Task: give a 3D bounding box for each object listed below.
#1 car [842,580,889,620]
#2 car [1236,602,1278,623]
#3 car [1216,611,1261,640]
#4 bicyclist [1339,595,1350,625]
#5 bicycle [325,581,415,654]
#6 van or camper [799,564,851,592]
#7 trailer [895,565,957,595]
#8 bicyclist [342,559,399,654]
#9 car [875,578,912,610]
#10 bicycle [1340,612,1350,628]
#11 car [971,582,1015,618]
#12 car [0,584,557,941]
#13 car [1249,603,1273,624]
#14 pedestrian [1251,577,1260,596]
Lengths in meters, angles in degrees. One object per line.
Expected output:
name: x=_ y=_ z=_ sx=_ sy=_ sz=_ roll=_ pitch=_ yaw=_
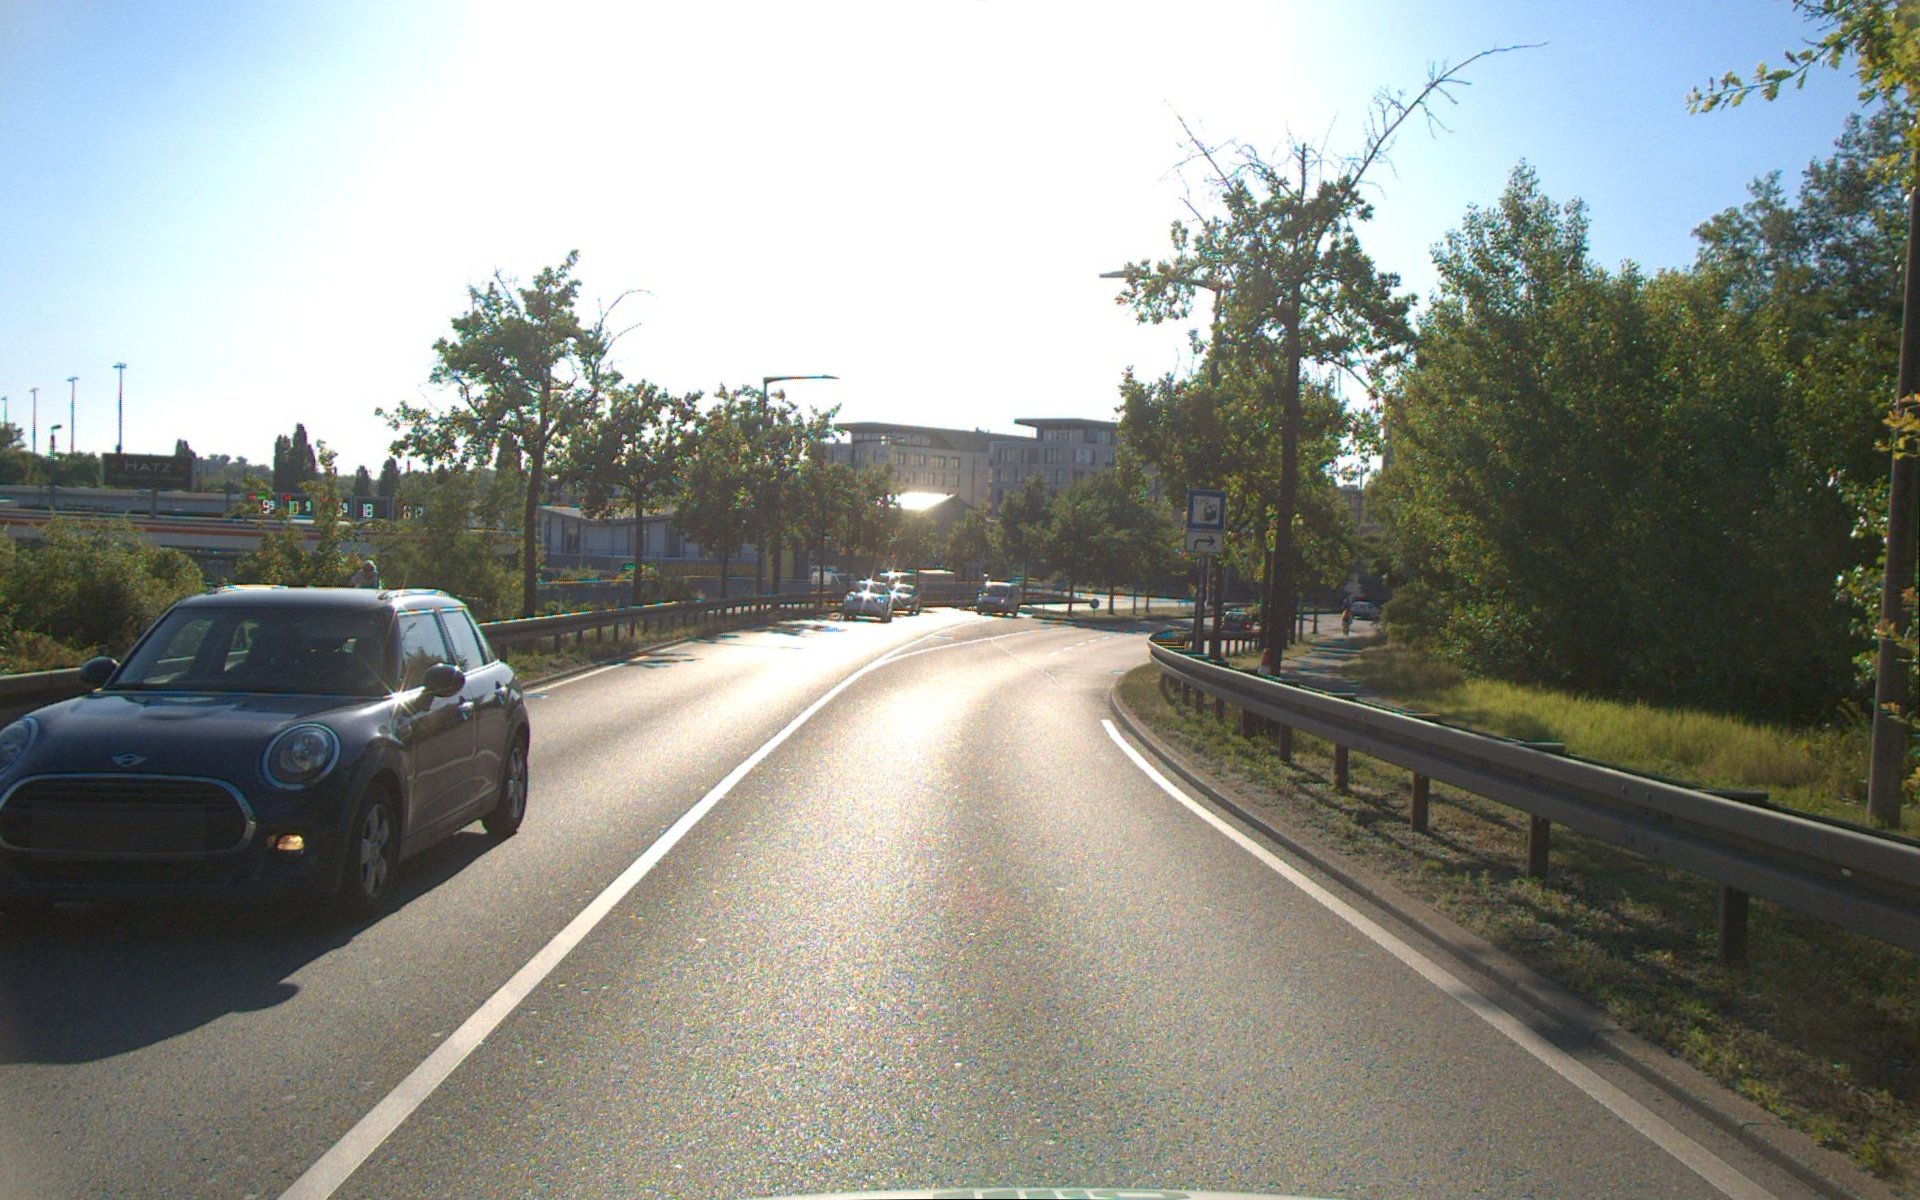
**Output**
car: x=-3.993 y=-0.027 z=70.404 sx=1.791 sy=1.617 sz=4.647 roll=1 pitch=0 yaw=-1
car: x=22.863 y=0.988 z=127.164 sx=1.556 sy=1.432 sz=3.816 roll=5 pitch=2 yaw=36
car: x=15.507 y=1.398 z=92.025 sx=1.951 sy=1.534 sz=4.002 roll=1 pitch=0 yaw=17
bicyclist: x=24.852 y=0.643 z=106.829 sx=0.667 sy=1.940 sz=0.834 roll=1 pitch=0 yaw=13
bicycle: x=-9.399 y=0.267 z=26.422 sx=0.570 sy=1.096 sz=2.313 roll=1 pitch=0 yaw=0
van or camper: x=-10.661 y=-1.771 z=130.422 sx=1.981 sy=1.959 sz=4.170 roll=3 pitch=0 yaw=-40
trailer: x=-2.454 y=-1.464 z=121.274 sx=2.369 sy=2.003 sz=6.609 roll=4 pitch=1 yaw=18
bicyclist: x=-9.411 y=0.104 z=26.419 sx=0.587 sy=1.484 sz=0.828 roll=1 pitch=0 yaw=0
car: x=-3.387 y=-0.331 z=84.719 sx=1.737 sy=1.491 sz=4.382 roll=3 pitch=0 yaw=-1
bicycle: x=24.903 y=1.269 z=106.864 sx=0.566 sy=0.980 sz=2.888 roll=1 pitch=0 yaw=14
car: x=2.005 y=-0.019 z=99.437 sx=1.838 sy=2.049 sz=5.264 roll=1 pitch=0 yaw=10
car: x=-3.382 y=0.650 z=8.690 sx=1.649 sy=1.448 sz=3.858 roll=0 pitch=1 yaw=-1
car: x=22.363 y=0.992 z=122.932 sx=1.514 sy=1.448 sz=3.420 roll=0 pitch=1 yaw=15
pedestrian: x=32.471 y=-1.488 z=181.702 sx=0.684 sy=1.936 sz=0.660 roll=5 pitch=2 yaw=43
